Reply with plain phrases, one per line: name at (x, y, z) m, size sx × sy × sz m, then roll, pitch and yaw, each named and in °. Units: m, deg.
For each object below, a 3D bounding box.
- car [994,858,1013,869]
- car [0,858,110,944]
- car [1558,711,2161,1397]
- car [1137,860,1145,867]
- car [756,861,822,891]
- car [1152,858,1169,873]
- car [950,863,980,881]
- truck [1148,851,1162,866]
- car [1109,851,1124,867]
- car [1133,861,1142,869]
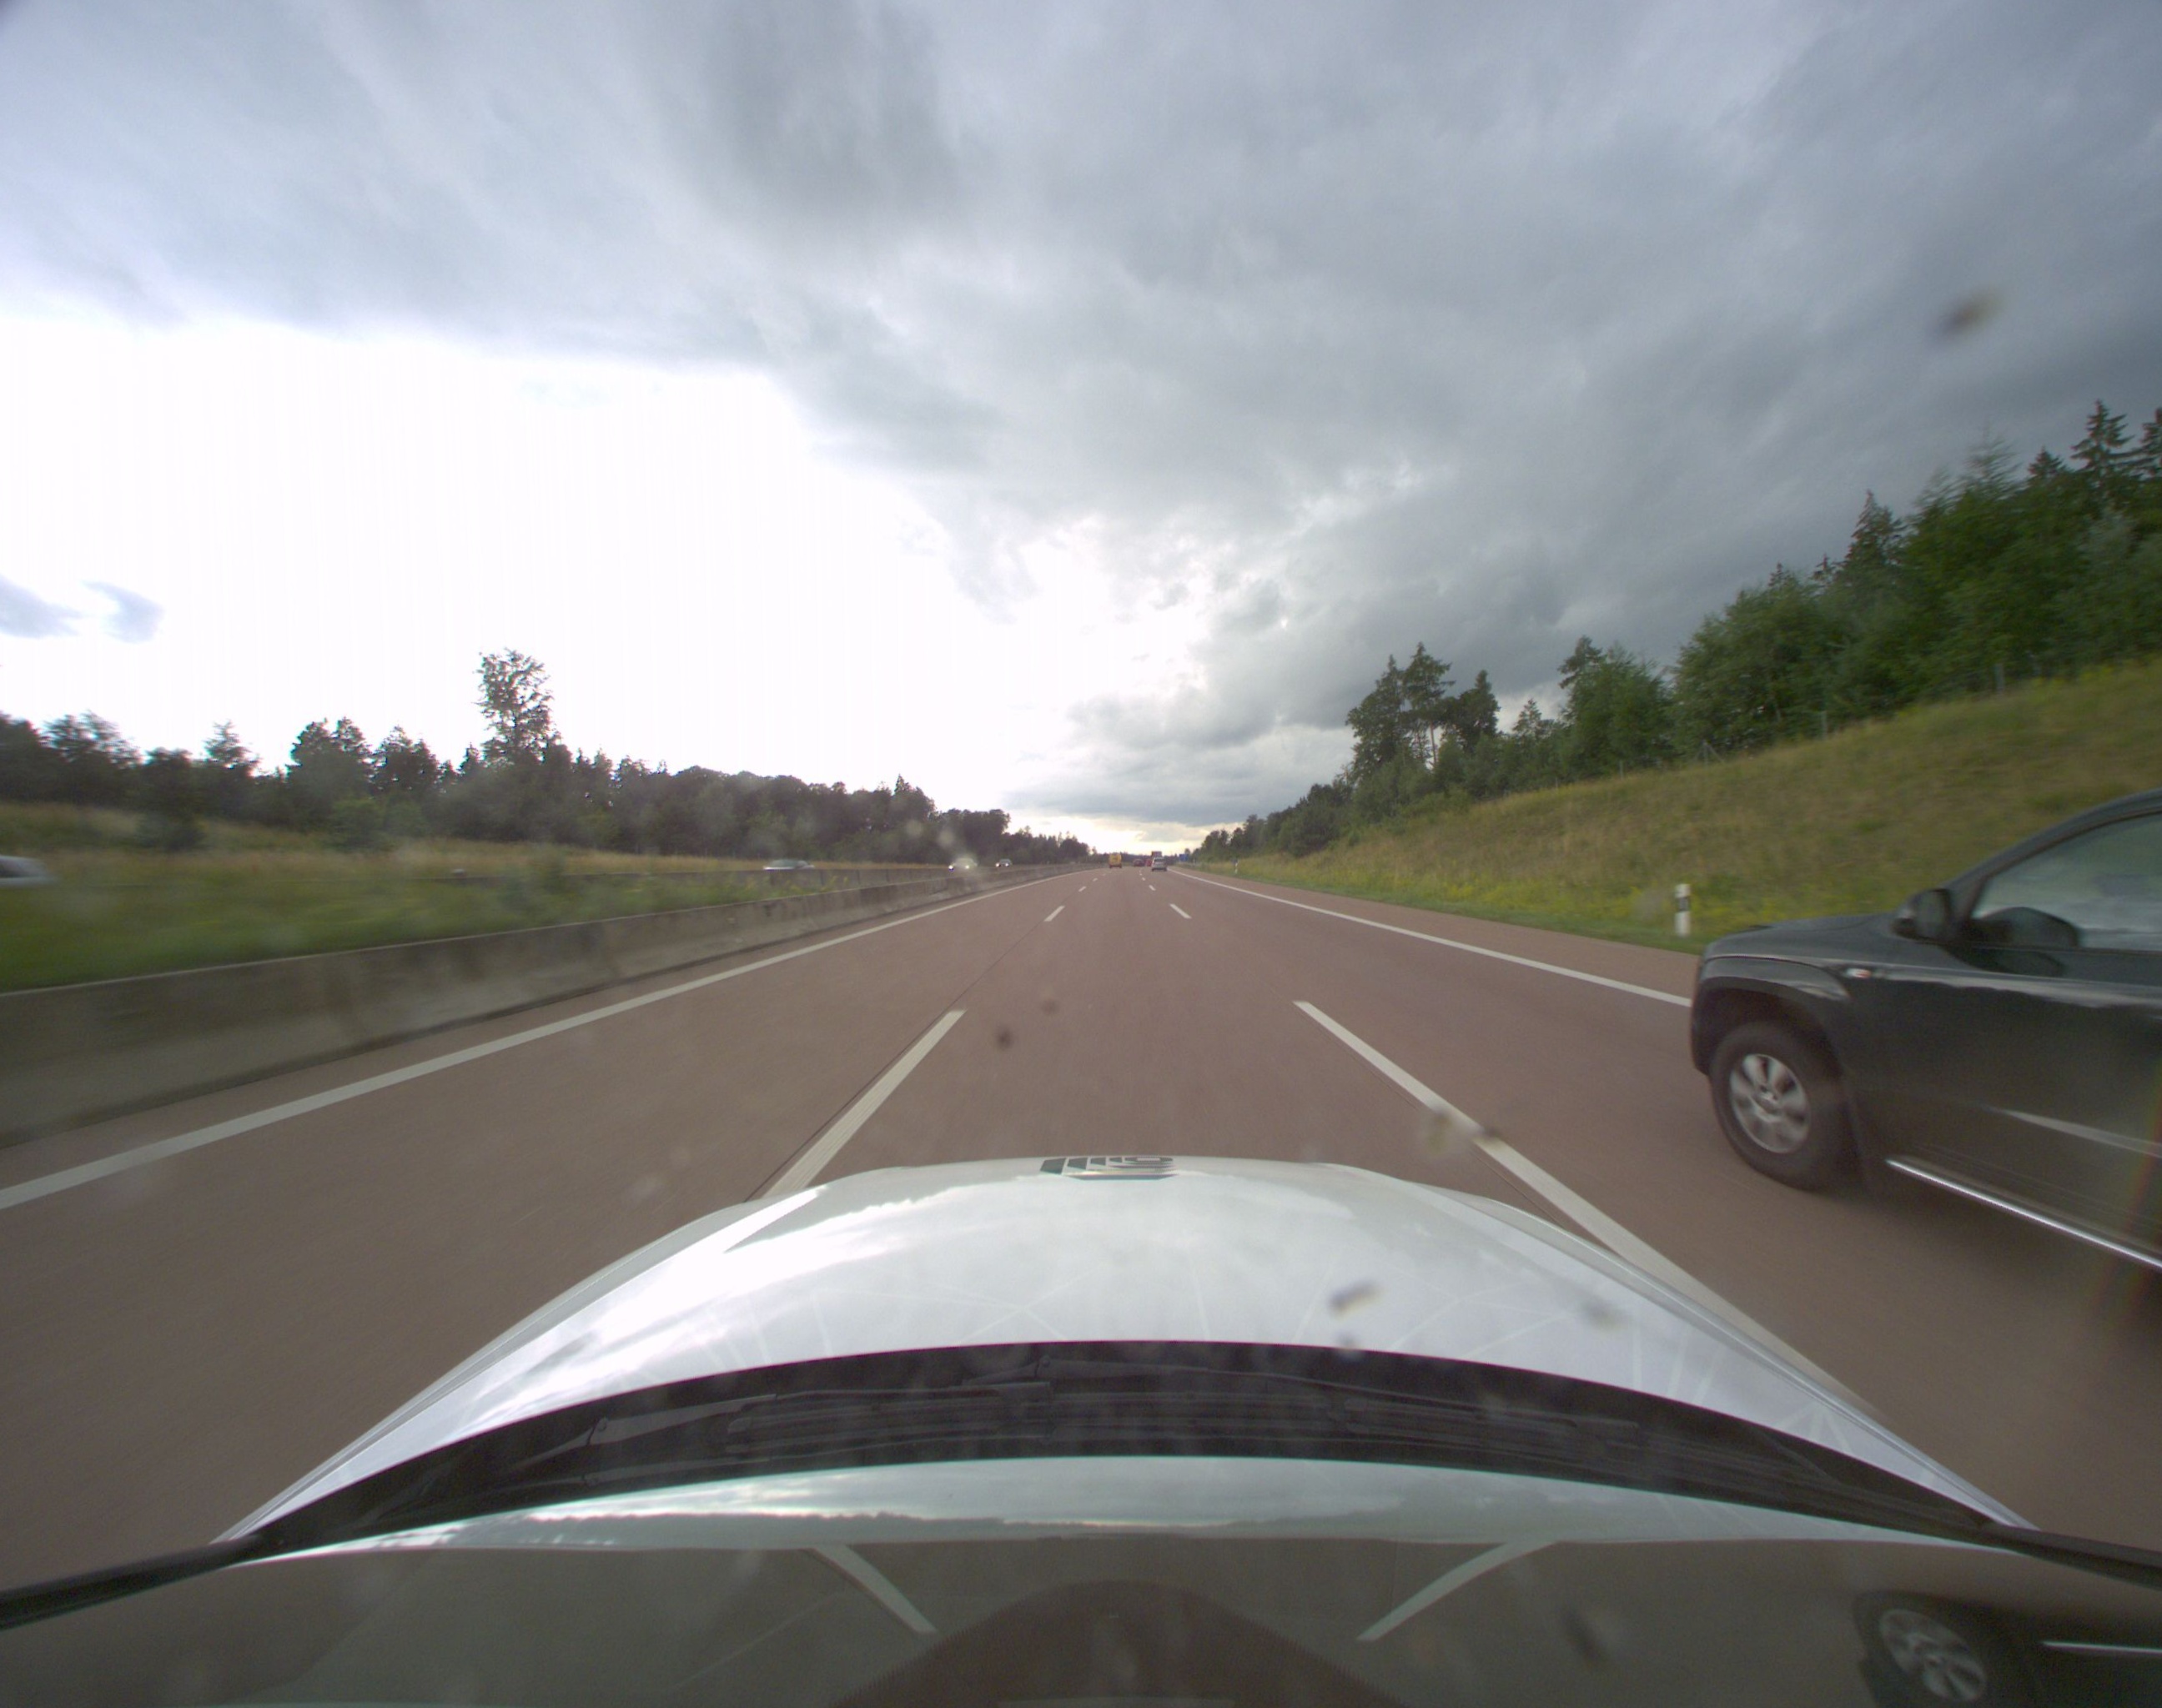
car at (-11.194, 1.416, 117.848) m, size 1.921 × 1.488 × 4.429 m, roll 0°, pitch -1°, yaw 5°
car at (-20.129, 0.818, 13.867) m, size 1.725 × 1.525 × 4.415 m, roll 0°, pitch -1°, yaw 3°
car at (3.997, 0.534, 2.390) m, size 2.036 × 1.897 × 5.579 m, roll -1°, pitch -1°, yaw 2°
car at (15.832, 2.575, 215.350) m, size 1.879 × 1.764 × 5.003 m, roll -1°, pitch -1°, yaw 4°
car at (-15.569, 1.184, 43.707) m, size 1.725 × 1.525 × 4.415 m, roll 0°, pitch -1°, yaw 3°
car at (9.381, 1.348, 96.470) m, size 1.968 × 1.648 × 4.626 m, roll 0°, pitch 0°, yaw 5°
car at (-10.358, 1.607, 72.912) m, size 1.724 × 1.525 × 4.250 m, roll 0°, pitch -1°, yaw 5°
truck at (20.077, 1.333, 221.934) m, size 3.663 × 3.913 × 12.830 m, roll 0°, pitch -1°, yaw 4°
car at (6.357, 0.936, 145.726) m, size 2.448 × 2.706 × 5.618 m, roll -1°, pitch -1°, yaw 3°
car at (12.359, 2.348, 177.690) m, size 1.879 × 1.764 × 4.787 m, roll -1°, pitch -1°, yaw 4°
